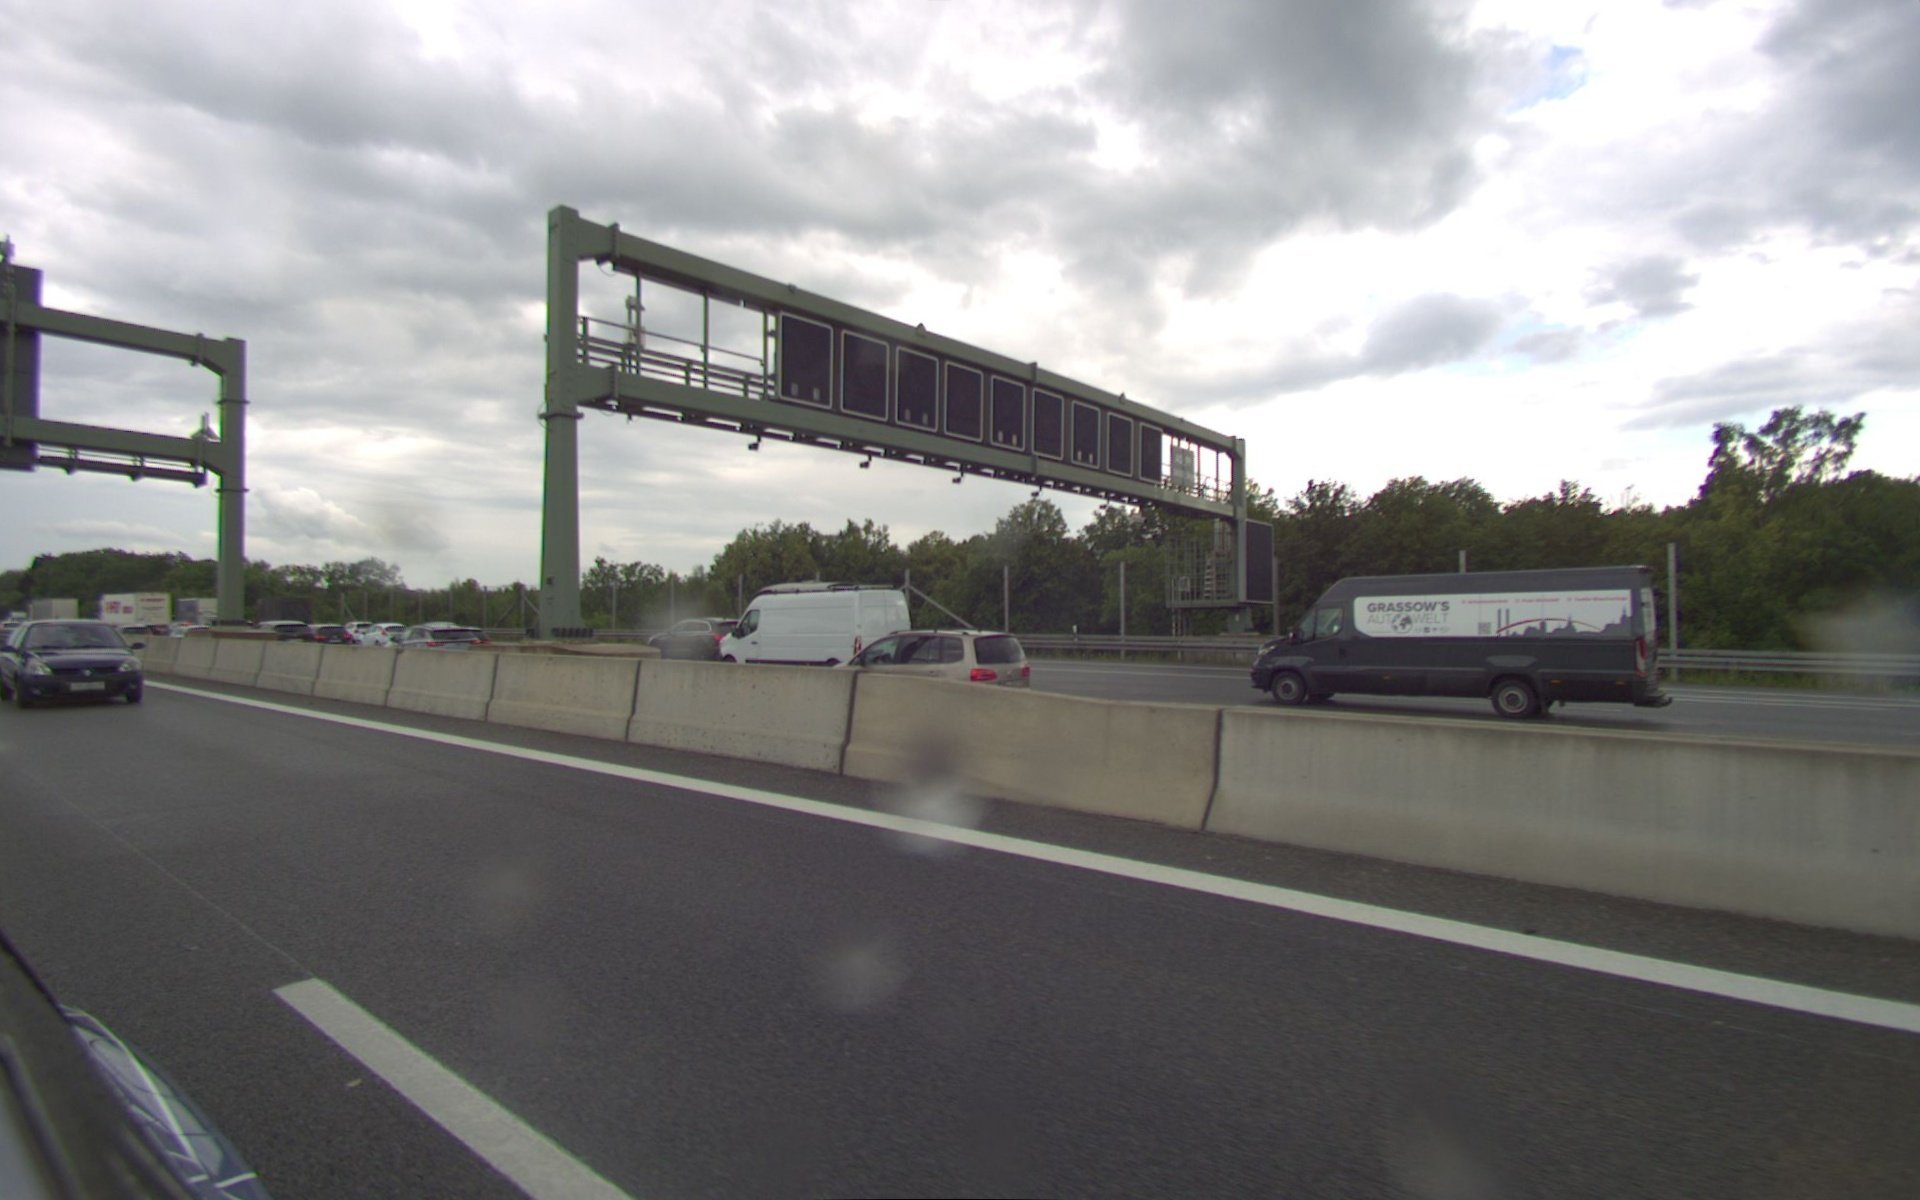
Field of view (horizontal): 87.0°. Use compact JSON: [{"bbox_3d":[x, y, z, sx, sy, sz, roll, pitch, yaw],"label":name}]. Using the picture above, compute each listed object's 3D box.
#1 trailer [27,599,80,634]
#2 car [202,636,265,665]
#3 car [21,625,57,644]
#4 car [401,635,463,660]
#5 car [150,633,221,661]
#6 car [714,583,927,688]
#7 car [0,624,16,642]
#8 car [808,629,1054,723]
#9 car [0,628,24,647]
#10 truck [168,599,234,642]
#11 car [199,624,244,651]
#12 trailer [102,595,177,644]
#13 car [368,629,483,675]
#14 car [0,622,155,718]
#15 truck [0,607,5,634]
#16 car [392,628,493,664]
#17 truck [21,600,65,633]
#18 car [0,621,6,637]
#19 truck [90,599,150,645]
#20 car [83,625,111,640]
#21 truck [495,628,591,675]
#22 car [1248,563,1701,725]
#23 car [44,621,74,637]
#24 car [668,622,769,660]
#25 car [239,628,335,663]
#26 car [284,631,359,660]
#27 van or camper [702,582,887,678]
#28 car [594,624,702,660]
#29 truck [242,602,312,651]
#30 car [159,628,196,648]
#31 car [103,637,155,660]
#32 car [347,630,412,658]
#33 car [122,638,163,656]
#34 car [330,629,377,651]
[{"bbox_3d":[-109.388,2.054,122.009,13.007,3.963,3.210,-2,-1,41],"label":"trailer"},{"bbox_3d":[-43.347,3.005,60.366,5.131,1.610,1.863,-2,-3,40],"label":"car"},{"bbox_3d":[-74.939,2.806,82.297,4.727,1.451,1.628,-2,-3,41],"label":"car"},{"bbox_3d":[-31.063,2.785,59.524,4.338,1.437,1.744,-2,-2,40],"label":"car"},{"bbox_3d":[-39.415,2.379,51.484,4.941,1.350,1.870,-2,-2,40],"label":"car"},{"bbox_3d":[-3.850,0.948,27.011,6.061,2.507,2.180,-2,-3,40],"label":"car"},{"bbox_3d":[-114.597,3.928,121.066,5.671,2.068,1.802,-2,-2,41],"label":"car"},{"bbox_3d":[-0.624,1.284,18.221,4.390,1.449,1.740,-2,-1,40],"label":"car"},{"bbox_3d":[-87.805,3.457,93.348,3.998,1.631,1.773,-2,-2,41],"label":"car"},{"bbox_3d":[-72.305,2.019,96.266,10.750,3.870,2.868,-2,-3,41],"label":"truck"},{"bbox_3d":[-53.645,2.707,73.456,4.817,1.905,1.567,-2,-3,40],"label":"car"},{"bbox_3d":[-75.320,1.900,92.768,11.947,4.226,3.154,-2,-3,40],"label":"trailer"},{"bbox_3d":[-17.470,1.673,33.009,4.500,1.402,1.686,-2,-2,39],"label":"car"},{"bbox_3d":[-15.662,1.140,17.611,5.014,1.418,1.758,-2,-2,42],"label":"car"},{"bbox_3d":[-126.092,2.661,131.113,8.535,3.425,2.493,-2,-3,41],"label":"truck"},{"bbox_3d":[-20.867,1.832,40.707,5.125,1.368,1.780,-2,-2,40],"label":"car"},{"bbox_3d":[-114.738,2.117,126.609,7.569,3.963,3.166,-2,-1,41],"label":"truck"},{"bbox_3d":[-98.252,2.961,102.630,4.281,1.631,1.773,-1,-1,41],"label":"car"},{"bbox_3d":[-81.103,2.162,97.653,7.731,4.226,3.145,-2,-3,40],"label":"truck"},{"bbox_3d":[-91.368,3.409,107.121,3.998,1.557,1.628,-2,-3,41],"label":"car"},{"bbox_3d":[-16.702,2.019,40.469,3.997,1.760,1.973,-2,-2,40],"label":"truck"},{"bbox_3d":[9.436,0.756,19.237,7.353,2.566,2.248,-1,-1,40],"label":"car"},{"bbox_3d":[-90.166,2.863,101.253,4.674,1.514,1.628,-1,-1,41],"label":"car"},{"bbox_3d":[-9.970,1.678,41.665,4.498,1.460,1.686,-2,-2,39],"label":"car"},{"bbox_3d":[-28.822,1.933,43.249,5.252,1.368,2.058,-2,-2,40],"label":"car"},{"bbox_3d":[-31.551,2.223,49.959,4.560,1.350,1.870,-2,-2,40],"label":"car"},{"bbox_3d":[-5.534,1.004,33.336,6.206,2.869,2.558,-2,-2,39],"label":"van or camper"},{"bbox_3d":[-11.761,1.576,38.010,4.498,1.271,1.686,-2,-2,39],"label":"car"},{"bbox_3d":[-52.048,2.057,77.030,7.801,3.564,2.438,-2,-3,40],"label":"truck"},{"bbox_3d":[-63.753,3.115,82.396,4.103,1.576,1.628,-2,-3,41],"label":"car"},{"bbox_3d":[-49.160,2.847,59.849,4.184,1.299,1.686,-2,-2,40],"label":"car"},{"bbox_3d":[-31.048,2.333,54.081,4.413,1.458,1.604,-2,-3,40],"label":"car"},{"bbox_3d":[-61.981,3.576,76.717,4.184,1.299,1.686,-2,-2,40],"label":"car"},{"bbox_3d":[-41.002,2.673,68.407,4.000,1.437,1.567,-2,-3,40],"label":"car"}]
